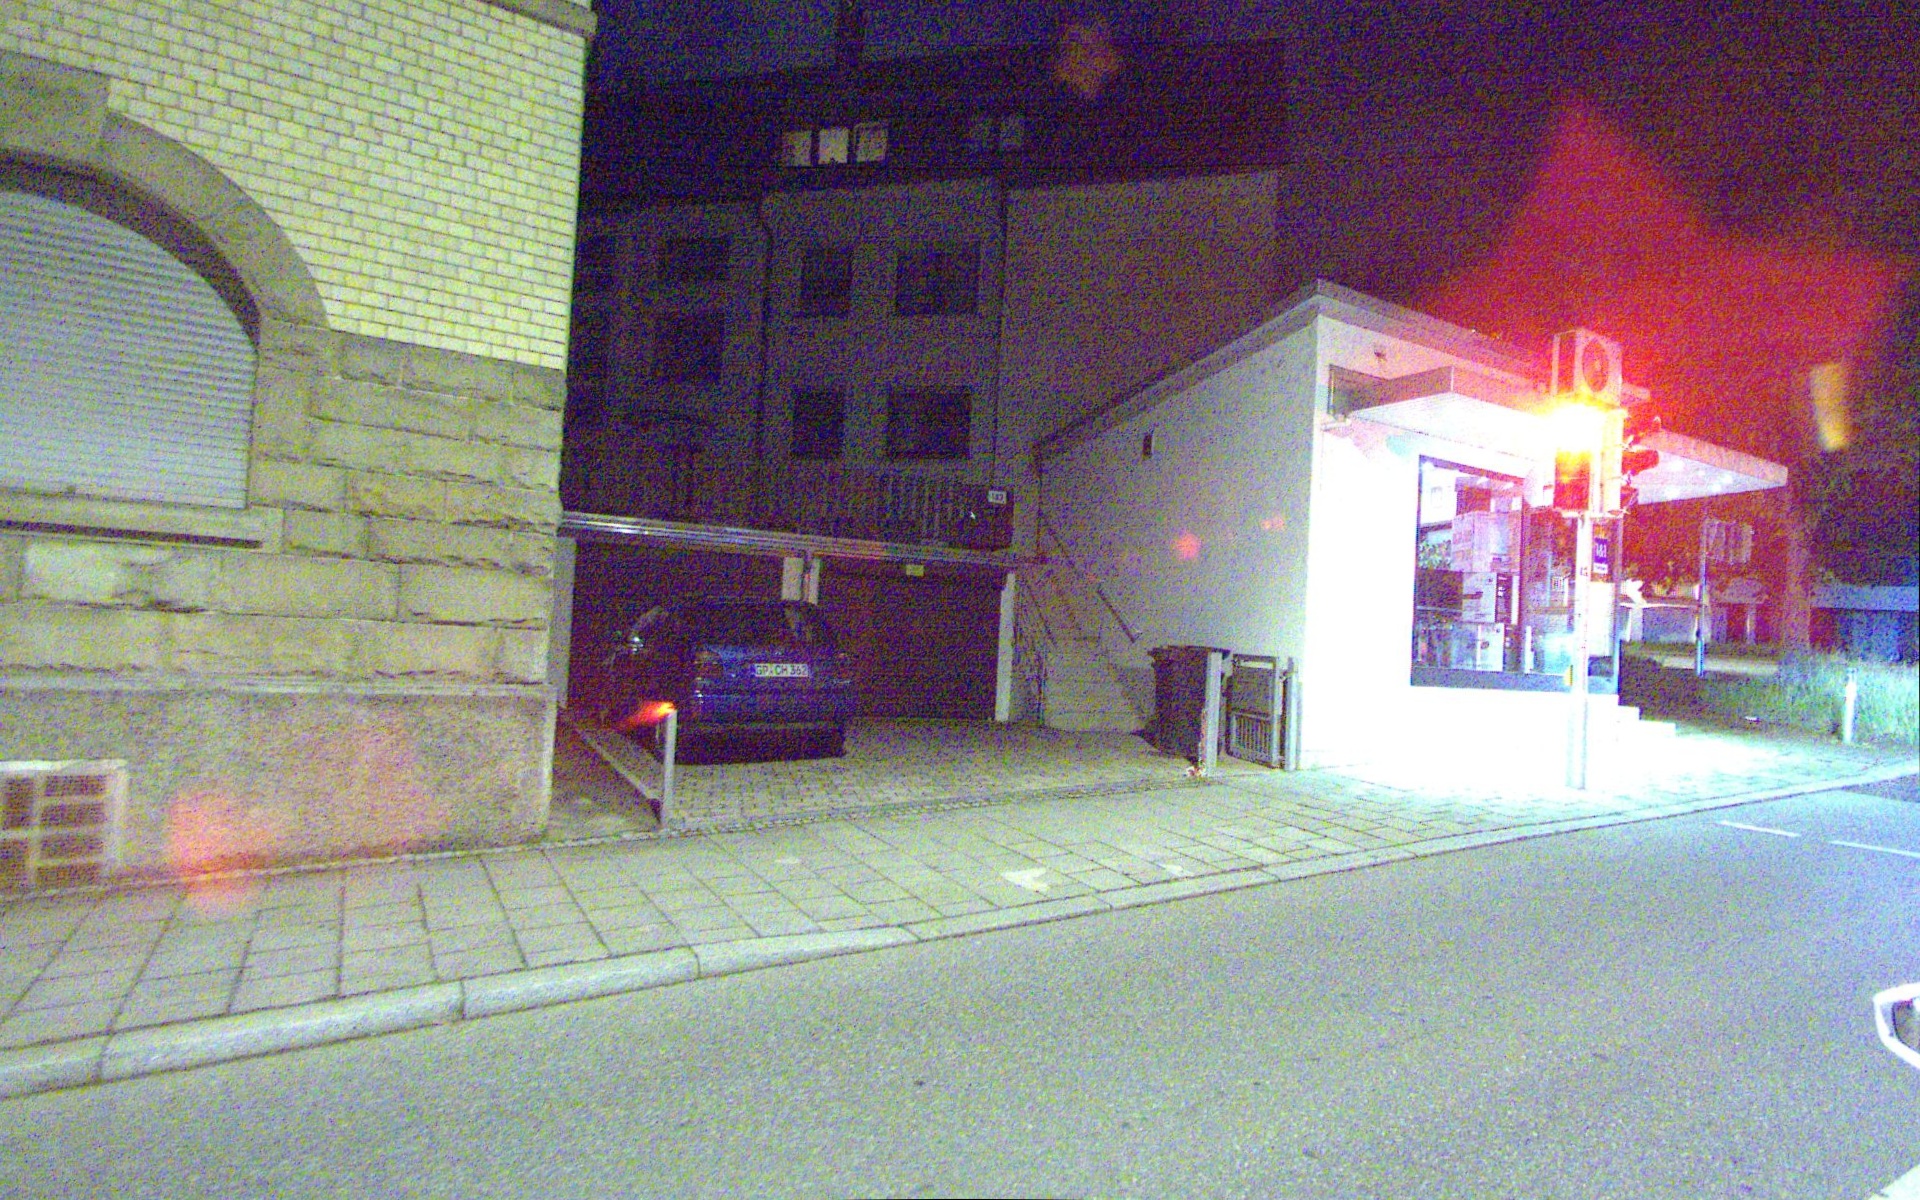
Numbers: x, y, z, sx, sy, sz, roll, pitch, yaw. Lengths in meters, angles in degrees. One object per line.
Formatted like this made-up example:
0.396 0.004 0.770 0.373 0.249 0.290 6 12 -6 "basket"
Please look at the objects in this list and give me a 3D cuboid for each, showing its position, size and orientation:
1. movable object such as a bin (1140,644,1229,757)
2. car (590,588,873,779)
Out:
2.249 0.997 10.121 0.643 1.063 0.639 2 0 -12 "movable object such as a bin"
-2.320 0.653 9.591 1.655 1.470 3.341 2 -1 -31 "car"
